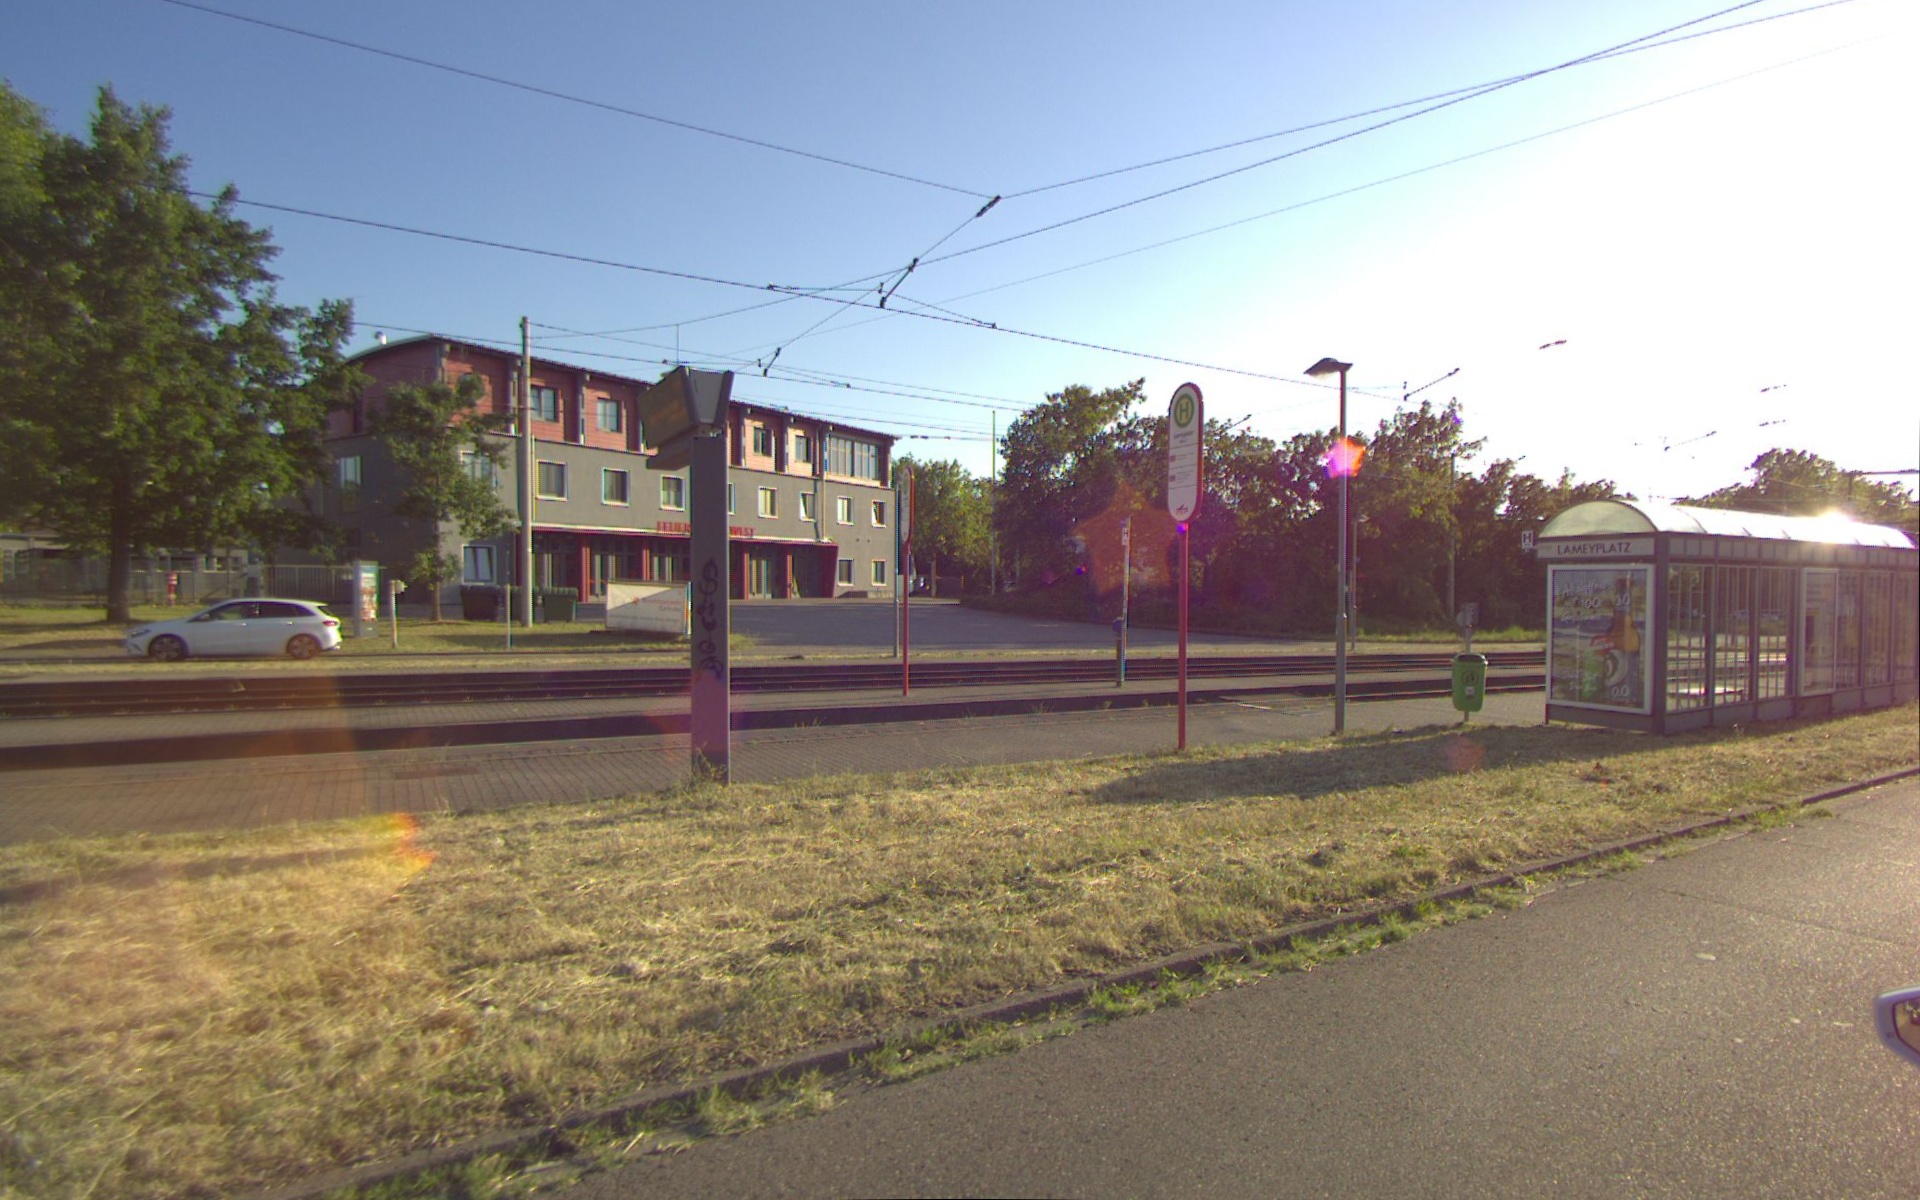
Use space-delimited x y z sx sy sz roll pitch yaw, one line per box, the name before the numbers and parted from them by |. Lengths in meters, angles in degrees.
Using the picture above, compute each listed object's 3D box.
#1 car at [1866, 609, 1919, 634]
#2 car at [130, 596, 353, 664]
car | 73.441 1.681 79.102 4.209 1.811 1.924 0 1 -31
car | -17.922 0.702 25.339 4.383 1.569 1.728 0 1 -30
